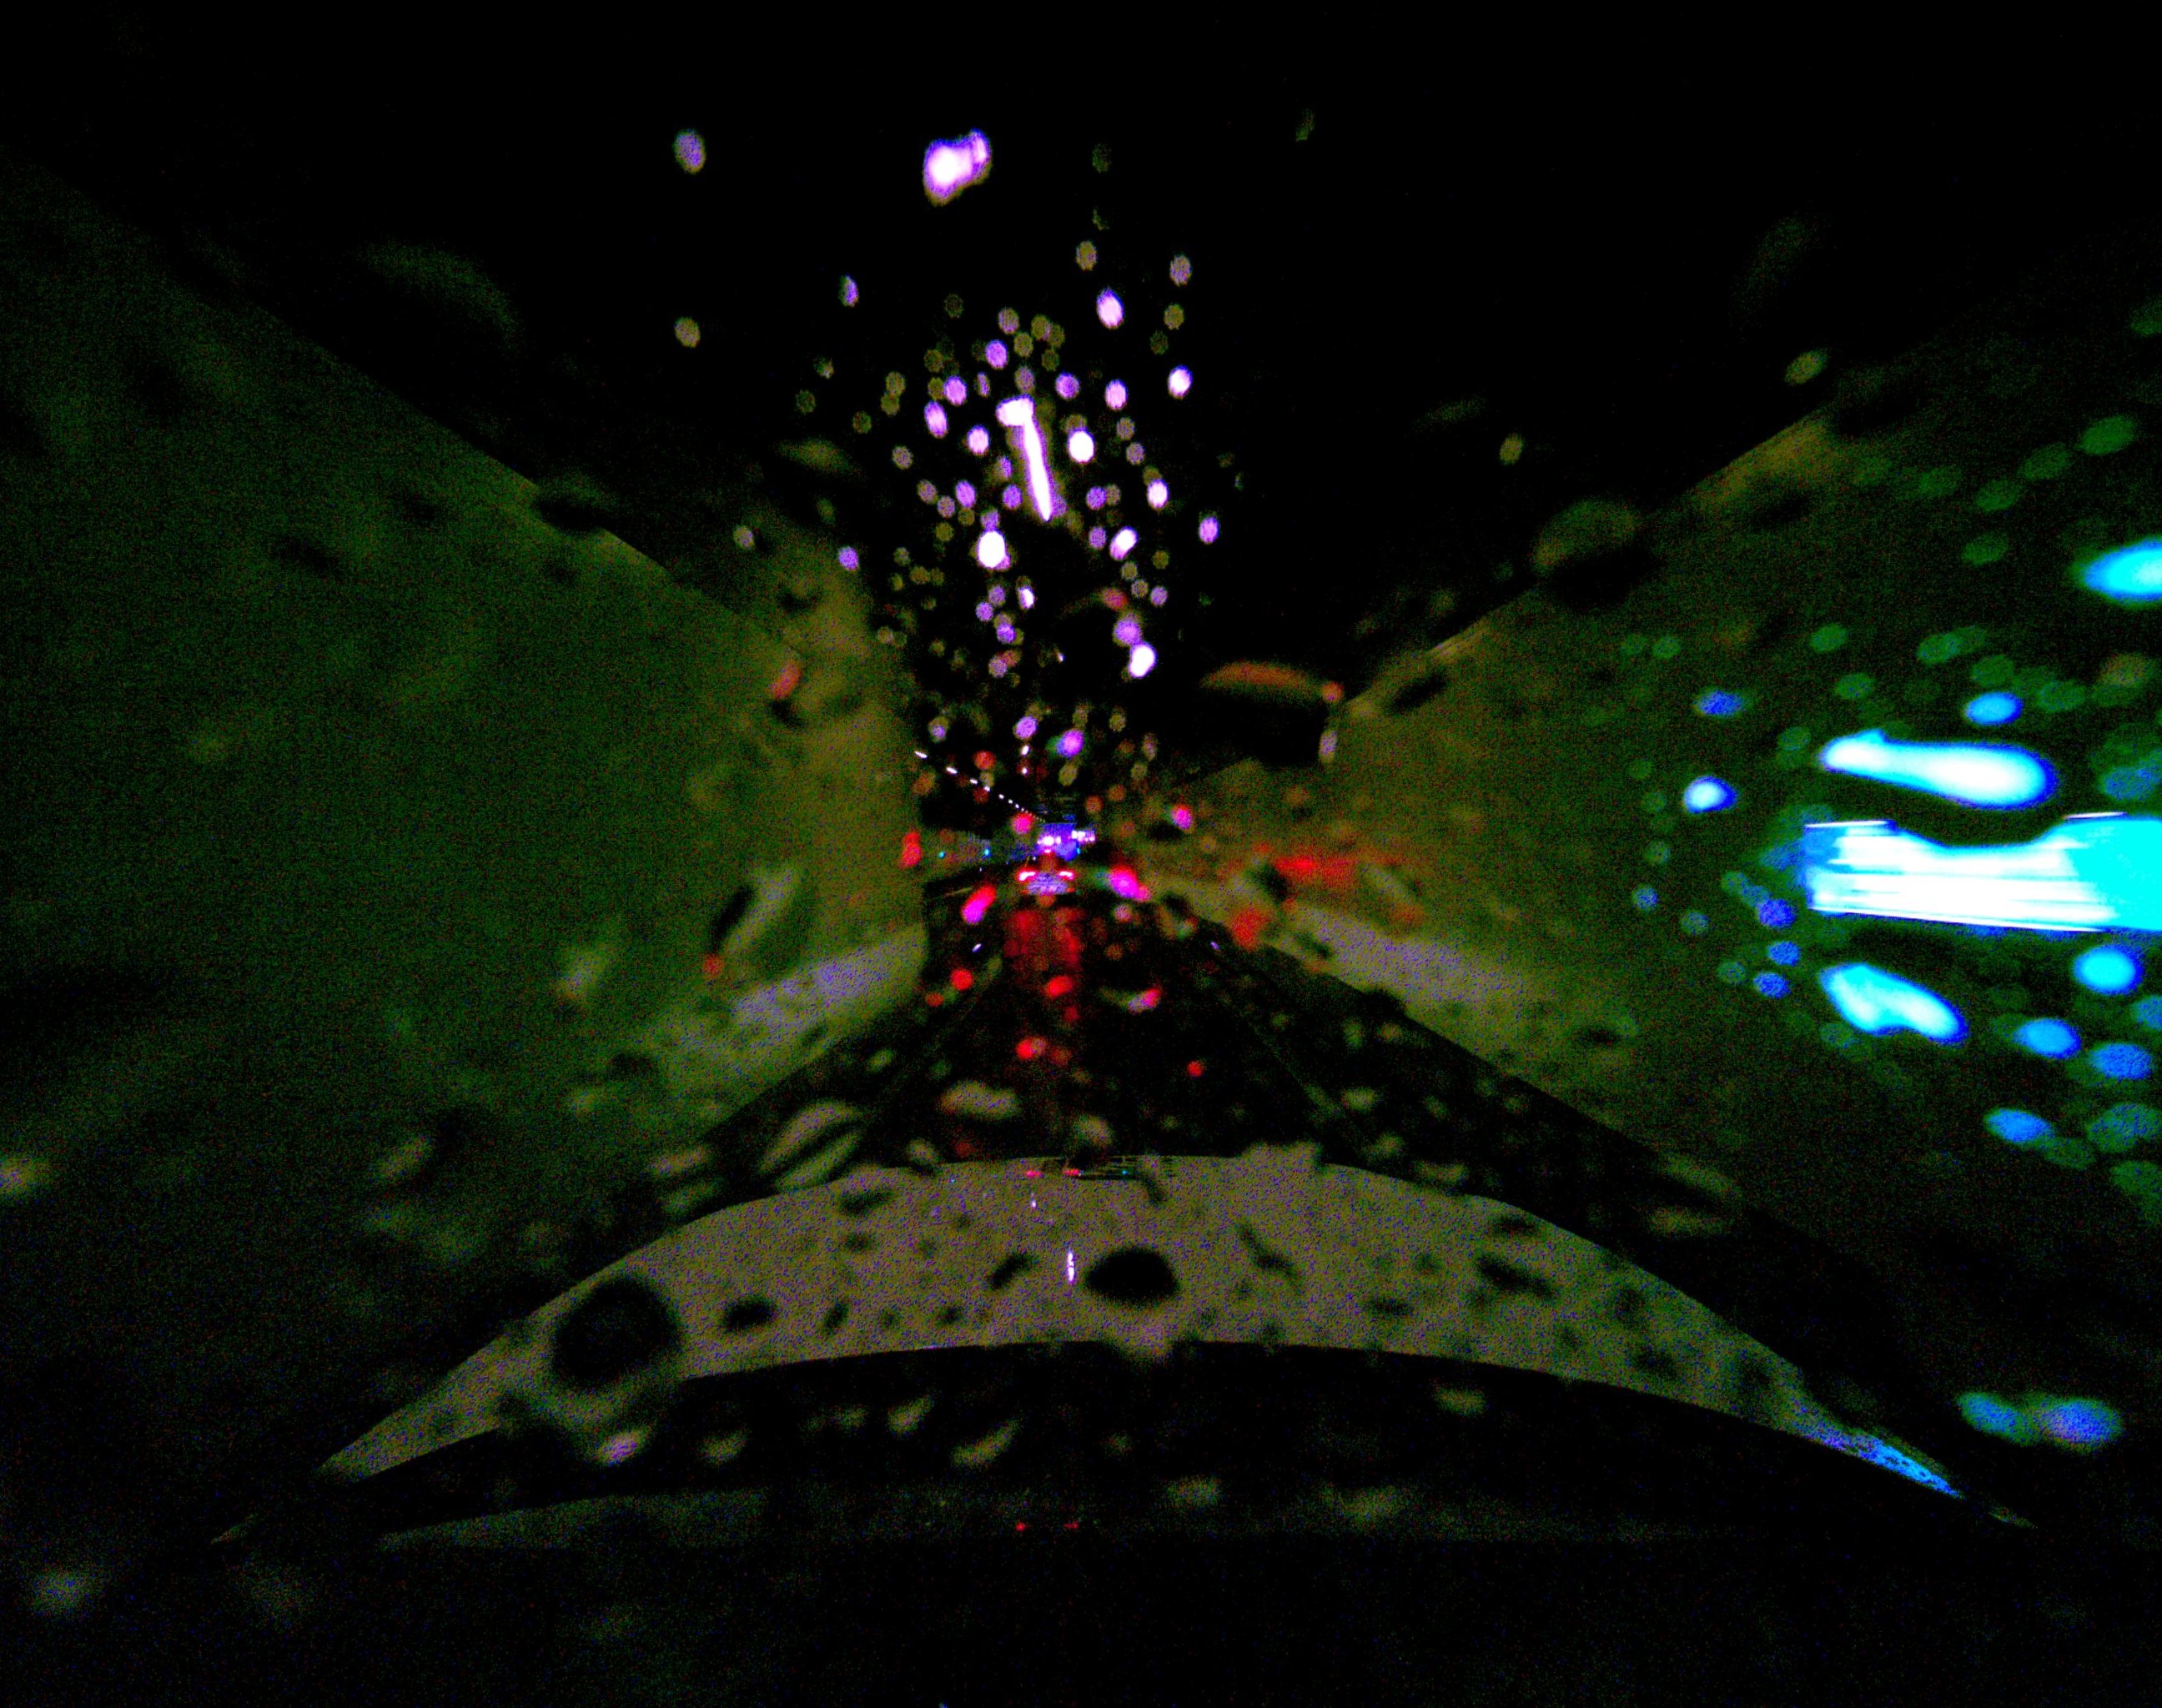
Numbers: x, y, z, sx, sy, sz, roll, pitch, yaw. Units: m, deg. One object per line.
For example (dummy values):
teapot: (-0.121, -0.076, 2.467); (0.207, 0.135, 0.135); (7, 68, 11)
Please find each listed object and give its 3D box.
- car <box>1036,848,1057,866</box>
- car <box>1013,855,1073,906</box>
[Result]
car: (-3.323, 0.288, 78.088); (1.877, 1.620, 3.994); (-1, -1, -4)
car: (-1.213, 0.760, 24.832); (1.530, 1.397, 3.425); (-1, 0, -7)
